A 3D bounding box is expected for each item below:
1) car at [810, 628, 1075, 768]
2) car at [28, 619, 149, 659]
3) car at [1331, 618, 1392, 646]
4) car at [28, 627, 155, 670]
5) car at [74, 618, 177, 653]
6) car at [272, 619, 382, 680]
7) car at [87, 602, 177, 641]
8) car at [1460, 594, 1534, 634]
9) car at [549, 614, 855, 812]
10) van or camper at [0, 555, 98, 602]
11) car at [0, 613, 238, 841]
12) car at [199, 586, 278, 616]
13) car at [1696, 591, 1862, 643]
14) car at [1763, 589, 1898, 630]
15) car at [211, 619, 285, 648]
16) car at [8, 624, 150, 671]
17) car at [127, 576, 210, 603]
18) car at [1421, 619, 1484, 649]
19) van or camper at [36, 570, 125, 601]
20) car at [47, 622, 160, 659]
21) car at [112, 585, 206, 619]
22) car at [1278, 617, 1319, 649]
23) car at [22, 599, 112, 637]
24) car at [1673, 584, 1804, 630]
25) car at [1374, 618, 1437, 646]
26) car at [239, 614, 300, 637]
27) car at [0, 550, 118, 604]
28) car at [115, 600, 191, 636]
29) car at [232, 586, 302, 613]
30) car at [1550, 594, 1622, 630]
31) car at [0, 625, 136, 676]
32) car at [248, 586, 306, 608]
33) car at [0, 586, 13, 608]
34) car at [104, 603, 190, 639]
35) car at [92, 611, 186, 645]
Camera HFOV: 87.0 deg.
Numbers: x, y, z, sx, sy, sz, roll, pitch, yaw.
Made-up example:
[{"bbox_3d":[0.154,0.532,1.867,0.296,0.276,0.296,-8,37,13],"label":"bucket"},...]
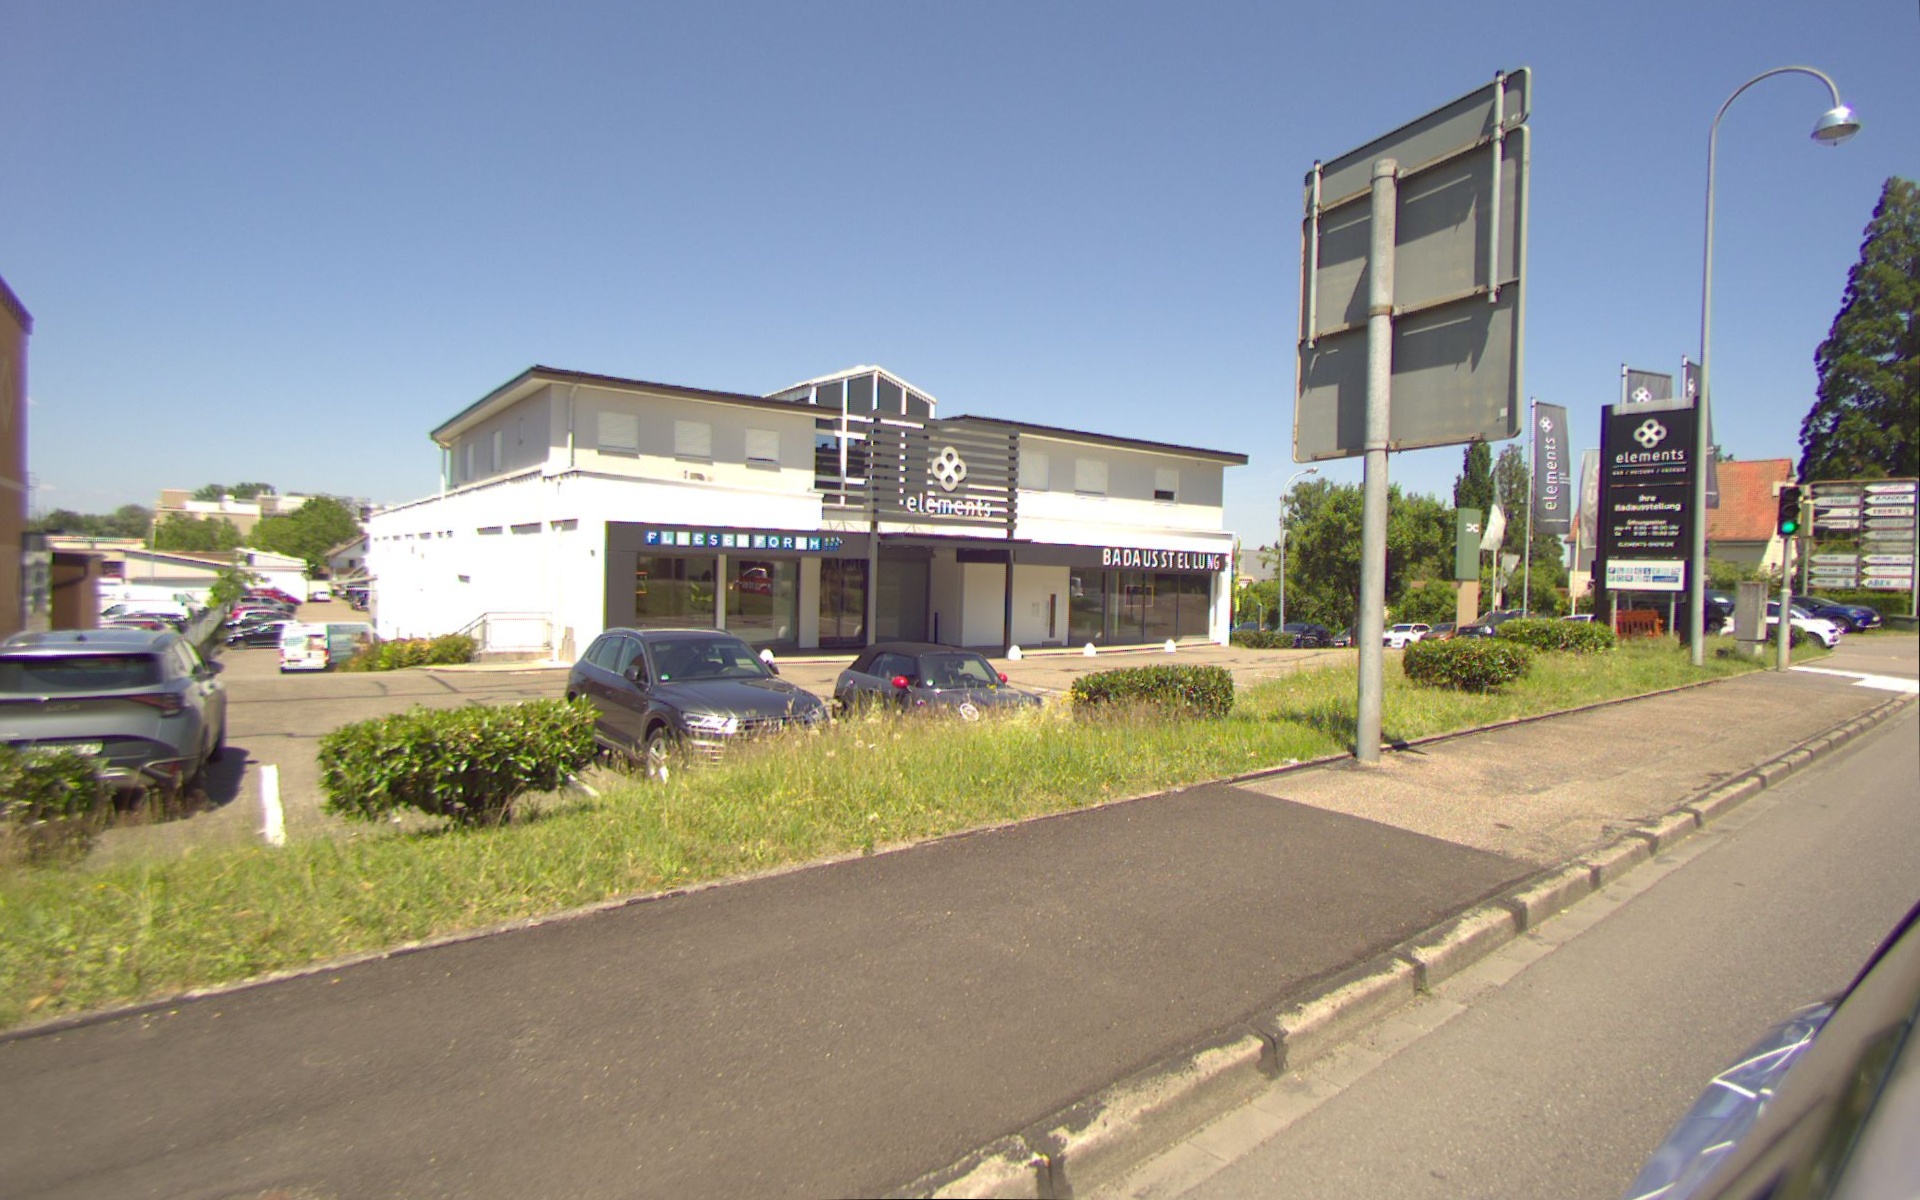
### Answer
[{"bbox_3d":[-0.383,1.215,13.988,1.597,1.400,3.977,0,2,-38],"label":"car"},{"bbox_3d":[-35.705,1.577,41.600,3.628,1.477,1.723,0,0,-37],"label":"car"},{"bbox_3d":[23.471,1.865,59.146,3.633,1.452,1.777,0,2,-39],"label":"car"},{"bbox_3d":[-33.858,1.849,39.596,3.628,1.477,1.723,0,0,-37],"label":"car"},{"bbox_3d":[-39.090,1.643,47.533,3.628,1.477,1.723,0,0,-37],"label":"car"},{"bbox_3d":[-27.278,2.062,43.826,2.185,2.364,4.387,0,1,-3],"label":"car"},{"bbox_3d":[-46.794,1.171,57.285,3.856,2.141,1.723,0,0,-37],"label":"car"},{"bbox_3d":[23.602,0.587,44.445,3.635,1.665,1.697,-1,1,-41],"label":"car"},{"bbox_3d":[-3.277,1.118,12.114,1.849,1.684,4.606,0,2,-38],"label":"car"},{"bbox_3d":[-80.739,-1.846,88.810,7.502,3.974,3.514,0,0,-37],"label":"van or camper"},{"bbox_3d":[-8.532,1.058,10.222,1.847,1.661,4.245,0,2,-33],"label":"car"},{"bbox_3d":[-59.623,0.072,83.725,5.255,2.367,2.418,0,0,-37],"label":"car"},{"bbox_3d":[24.660,0.461,30.570,1.597,1.400,3.638,0,2,-38],"label":"car"},{"bbox_3d":[32.836,0.315,38.259,1.597,1.400,3.638,0,2,-38],"label":"car"},{"bbox_3d":[-45.481,2.105,64.698,3.856,1.711,1.723,0,0,-37],"label":"car"},{"bbox_3d":[-30.837,1.628,35.580,3.628,1.477,1.723,0,0,-37],"label":"car"},{"bbox_3d":[-73.309,-0.965,93.885,6.028,2.439,2.506,-1,1,-38],"label":"car"},{"bbox_3d":[26.727,1.800,54.923,3.634,1.452,1.776,0,2,-41],"label":"car"},{"bbox_3d":[-97.772,-1.618,112.644,7.224,3.345,3.348,0,0,-37],"label":"van or camper"},{"bbox_3d":[-36.949,1.717,43.783,3.628,1.477,1.723,0,0,-37],"label":"car"},{"bbox_3d":[-57.880,0.105,73.280,5.255,2.367,2.418,0,0,-37],"label":"car"},{"bbox_3d":[17.571,1.671,52.683,1.841,1.527,3.980,0,0,16],"label":"car"},{"bbox_3d":[-53.124,1.047,60.296,3.856,2.146,1.723,0,0,-37],"label":"car"},{"bbox_3d":[29.299,0.228,38.155,1.597,1.570,3.638,0,2,-38],"label":"car"},{"bbox_3d":[25.256,1.781,57.329,3.634,1.452,1.835,0,2,-41],"label":"car"},{"bbox_3d":[-53.161,1.938,77.954,3.856,1.711,1.723,0,0,-37],"label":"car"},{"bbox_3d":[-69.494,-1.711,77.531,7.502,3.974,3.514,0,0,-37],"label":"car"},{"bbox_3d":[-49.832,1.073,62.570,3.617,2.146,1.699,0,0,-37],"label":"car"},{"bbox_3d":[-64.180,-0.066,93.762,5.255,2.367,2.418,0,0,-37],"label":"car"},{"bbox_3d":[30.007,0.540,48.504,3.630,1.665,1.699,-1,1,-36],"label":"car"},{"bbox_3d":[-29.753,1.632,33.593,3.628,1.508,1.723,0,0,-37],"label":"car"},{"bbox_3d":[-75.851,-0.320,112.340,5.255,2.367,2.418,0,0,-37],"label":"car"},{"bbox_3d":[-90.882,-0.287,94.126,3.930,2.039,1.997,-1,1,-41],"label":"car"},{"bbox_3d":[-44.821,1.113,55.873,3.628,1.915,1.723,0,0,-37],"label":"car"},{"bbox_3d":[-41.968,1.389,51.826,3.628,1.613,1.723,0,1,-37],"label":"car"}]
